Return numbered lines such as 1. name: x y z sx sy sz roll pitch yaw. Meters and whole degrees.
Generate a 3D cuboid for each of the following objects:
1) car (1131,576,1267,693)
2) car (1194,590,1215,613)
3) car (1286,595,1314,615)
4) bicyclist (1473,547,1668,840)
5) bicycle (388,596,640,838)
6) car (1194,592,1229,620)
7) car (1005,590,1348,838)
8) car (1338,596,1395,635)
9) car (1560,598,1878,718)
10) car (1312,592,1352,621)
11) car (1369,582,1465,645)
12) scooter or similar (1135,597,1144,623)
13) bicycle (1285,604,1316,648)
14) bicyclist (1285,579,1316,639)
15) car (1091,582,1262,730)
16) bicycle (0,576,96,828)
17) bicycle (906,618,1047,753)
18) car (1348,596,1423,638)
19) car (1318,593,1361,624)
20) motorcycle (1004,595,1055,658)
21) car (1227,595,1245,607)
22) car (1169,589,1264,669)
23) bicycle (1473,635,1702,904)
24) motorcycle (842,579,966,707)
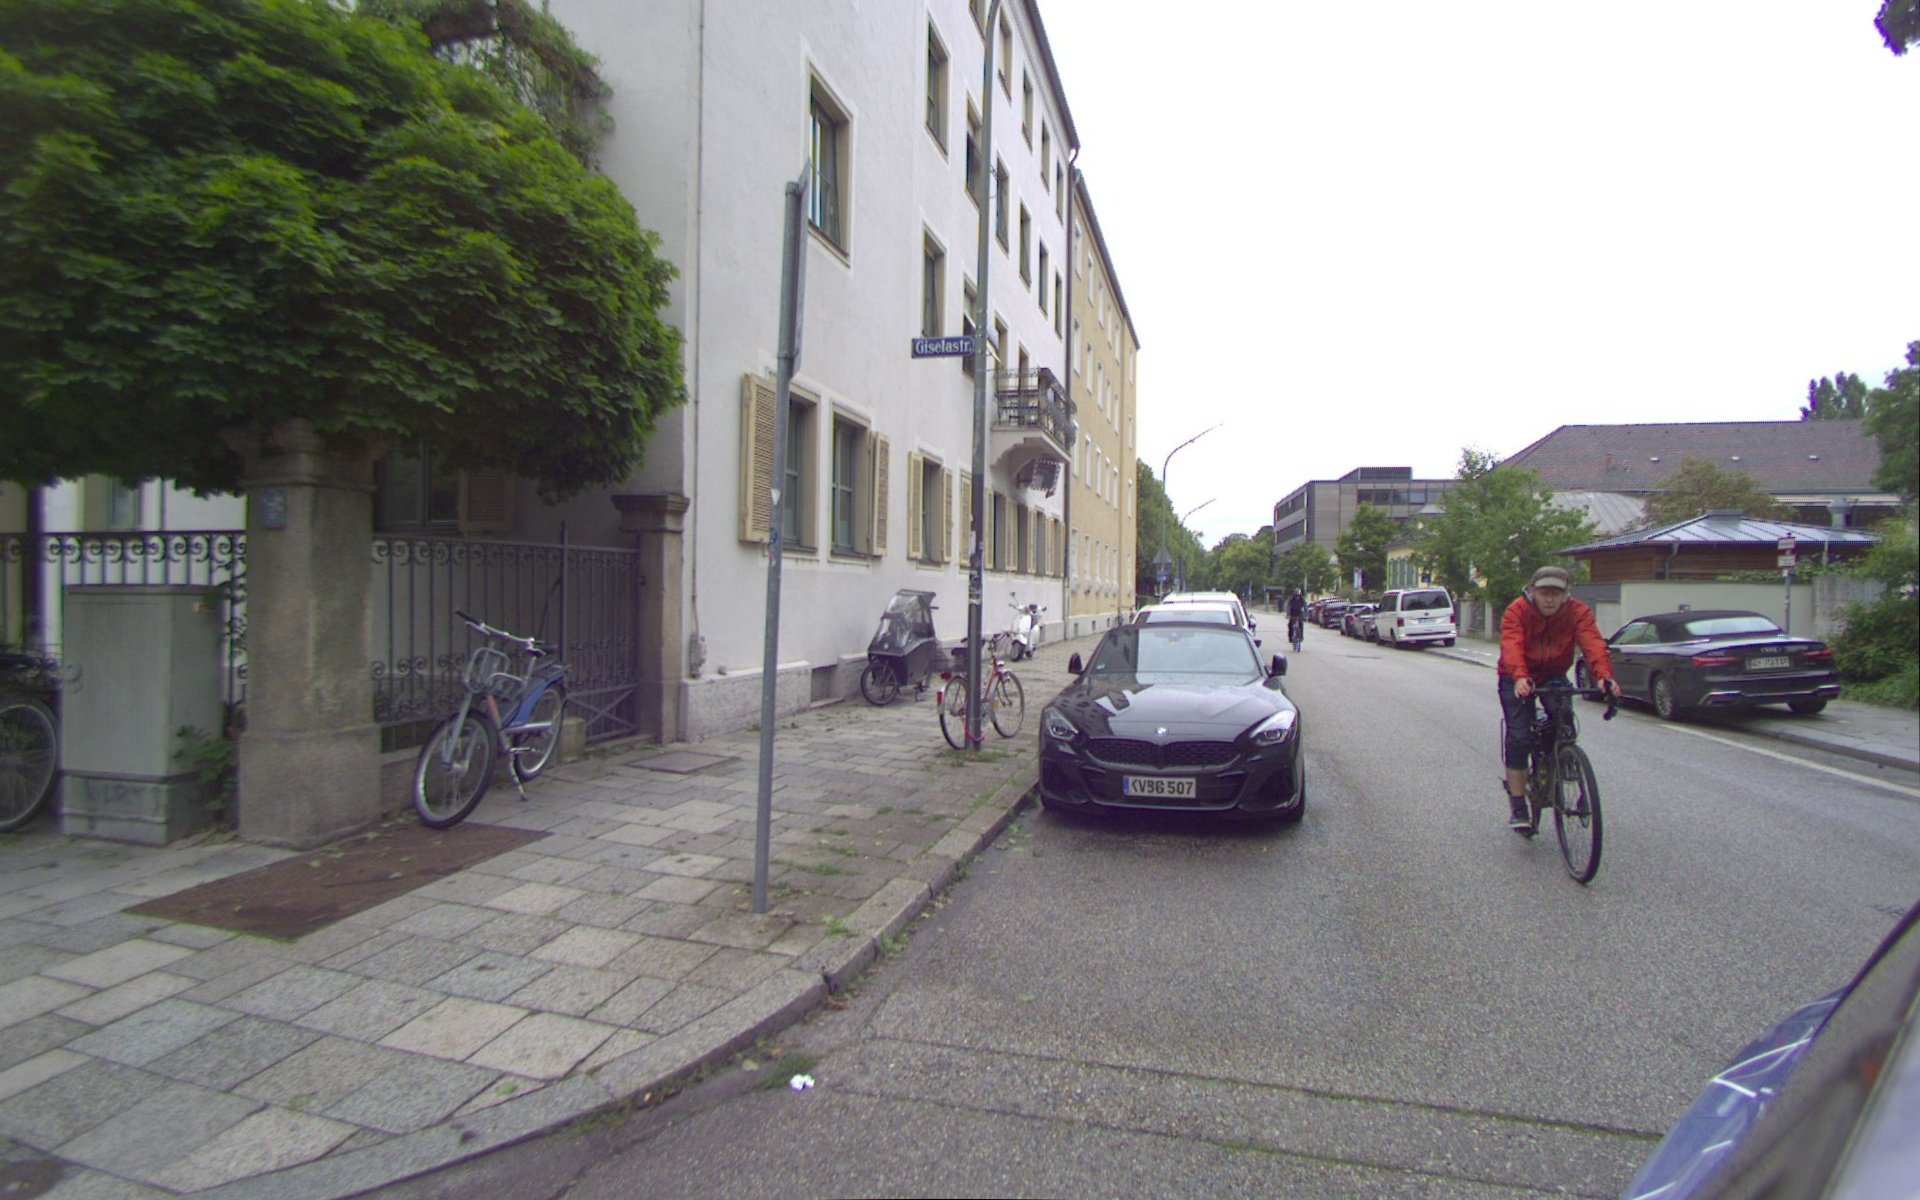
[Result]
1. car: 4.192 0.529 17.518 1.971 1.728 4.512 -1 0 15
2. car: 21.559 0.129 89.250 1.764 1.919 4.554 -1 0 14
3. car: 26.825 0.393 79.846 1.705 1.511 4.442 -1 0 14
4. bicyclist: 3.434 0.478 5.788 0.747 1.502 0.975 -1 0 20
5. bicycle: -2.661 0.613 6.268 0.535 1.241 1.772 1 1 10
6. car: 15.744 0.363 63.220 1.972 1.652 5.073 -1 0 16
7. car: 1.844 0.652 8.356 1.978 1.335 4.574 3 1 15
8. car: 18.230 0.648 45.549 1.839 1.564 4.167 2 1 16
9. car: 10.659 0.700 14.760 1.785 1.420 4.906 -1 0 12
10. car: 22.976 0.395 62.605 1.881 1.713 4.785 -1 0 15
11. car: 15.615 0.421 34.849 1.942 2.015 5.132 -1 0 12
12. scooter or similar: 8.939 0.502 50.430 0.338 1.271 1.304 2 1 14
13. bicycle: 9.840 0.739 29.263 0.710 1.222 1.792 -1 -1 15
14. bicyclist: 9.857 0.263 29.326 0.769 1.688 1.029 -1 -1 15
15. car: 2.925 0.634 13.097 1.752 1.566 3.691 -4 -1 17
16. bicycle: -5.795 0.525 5.629 1.890 1.292 0.466 0 -1 13
17. bicycle: 0.207 0.737 9.514 0.657 1.077 1.924 1 0 22
18. car: 17.005 0.639 40.632 1.864 1.563 4.680 1 0 11
19. car: 20.977 0.451 56.019 1.825 1.628 4.718 -1 0 16
20. motorcycle: 1.495 0.533 21.465 0.724 1.255 1.999 -1 0 14
21. car: 36.683 0.116 134.683 1.899 1.416 4.474 1 0 10
22. car: 5.771 0.562 22.553 1.819 1.551 4.393 2 1 16
23. bicycle: 3.449 0.822 5.754 0.666 1.156 1.998 -1 0 19
24. motorcycle: -0.642 0.480 12.977 0.847 1.451 2.695 1 0 13
